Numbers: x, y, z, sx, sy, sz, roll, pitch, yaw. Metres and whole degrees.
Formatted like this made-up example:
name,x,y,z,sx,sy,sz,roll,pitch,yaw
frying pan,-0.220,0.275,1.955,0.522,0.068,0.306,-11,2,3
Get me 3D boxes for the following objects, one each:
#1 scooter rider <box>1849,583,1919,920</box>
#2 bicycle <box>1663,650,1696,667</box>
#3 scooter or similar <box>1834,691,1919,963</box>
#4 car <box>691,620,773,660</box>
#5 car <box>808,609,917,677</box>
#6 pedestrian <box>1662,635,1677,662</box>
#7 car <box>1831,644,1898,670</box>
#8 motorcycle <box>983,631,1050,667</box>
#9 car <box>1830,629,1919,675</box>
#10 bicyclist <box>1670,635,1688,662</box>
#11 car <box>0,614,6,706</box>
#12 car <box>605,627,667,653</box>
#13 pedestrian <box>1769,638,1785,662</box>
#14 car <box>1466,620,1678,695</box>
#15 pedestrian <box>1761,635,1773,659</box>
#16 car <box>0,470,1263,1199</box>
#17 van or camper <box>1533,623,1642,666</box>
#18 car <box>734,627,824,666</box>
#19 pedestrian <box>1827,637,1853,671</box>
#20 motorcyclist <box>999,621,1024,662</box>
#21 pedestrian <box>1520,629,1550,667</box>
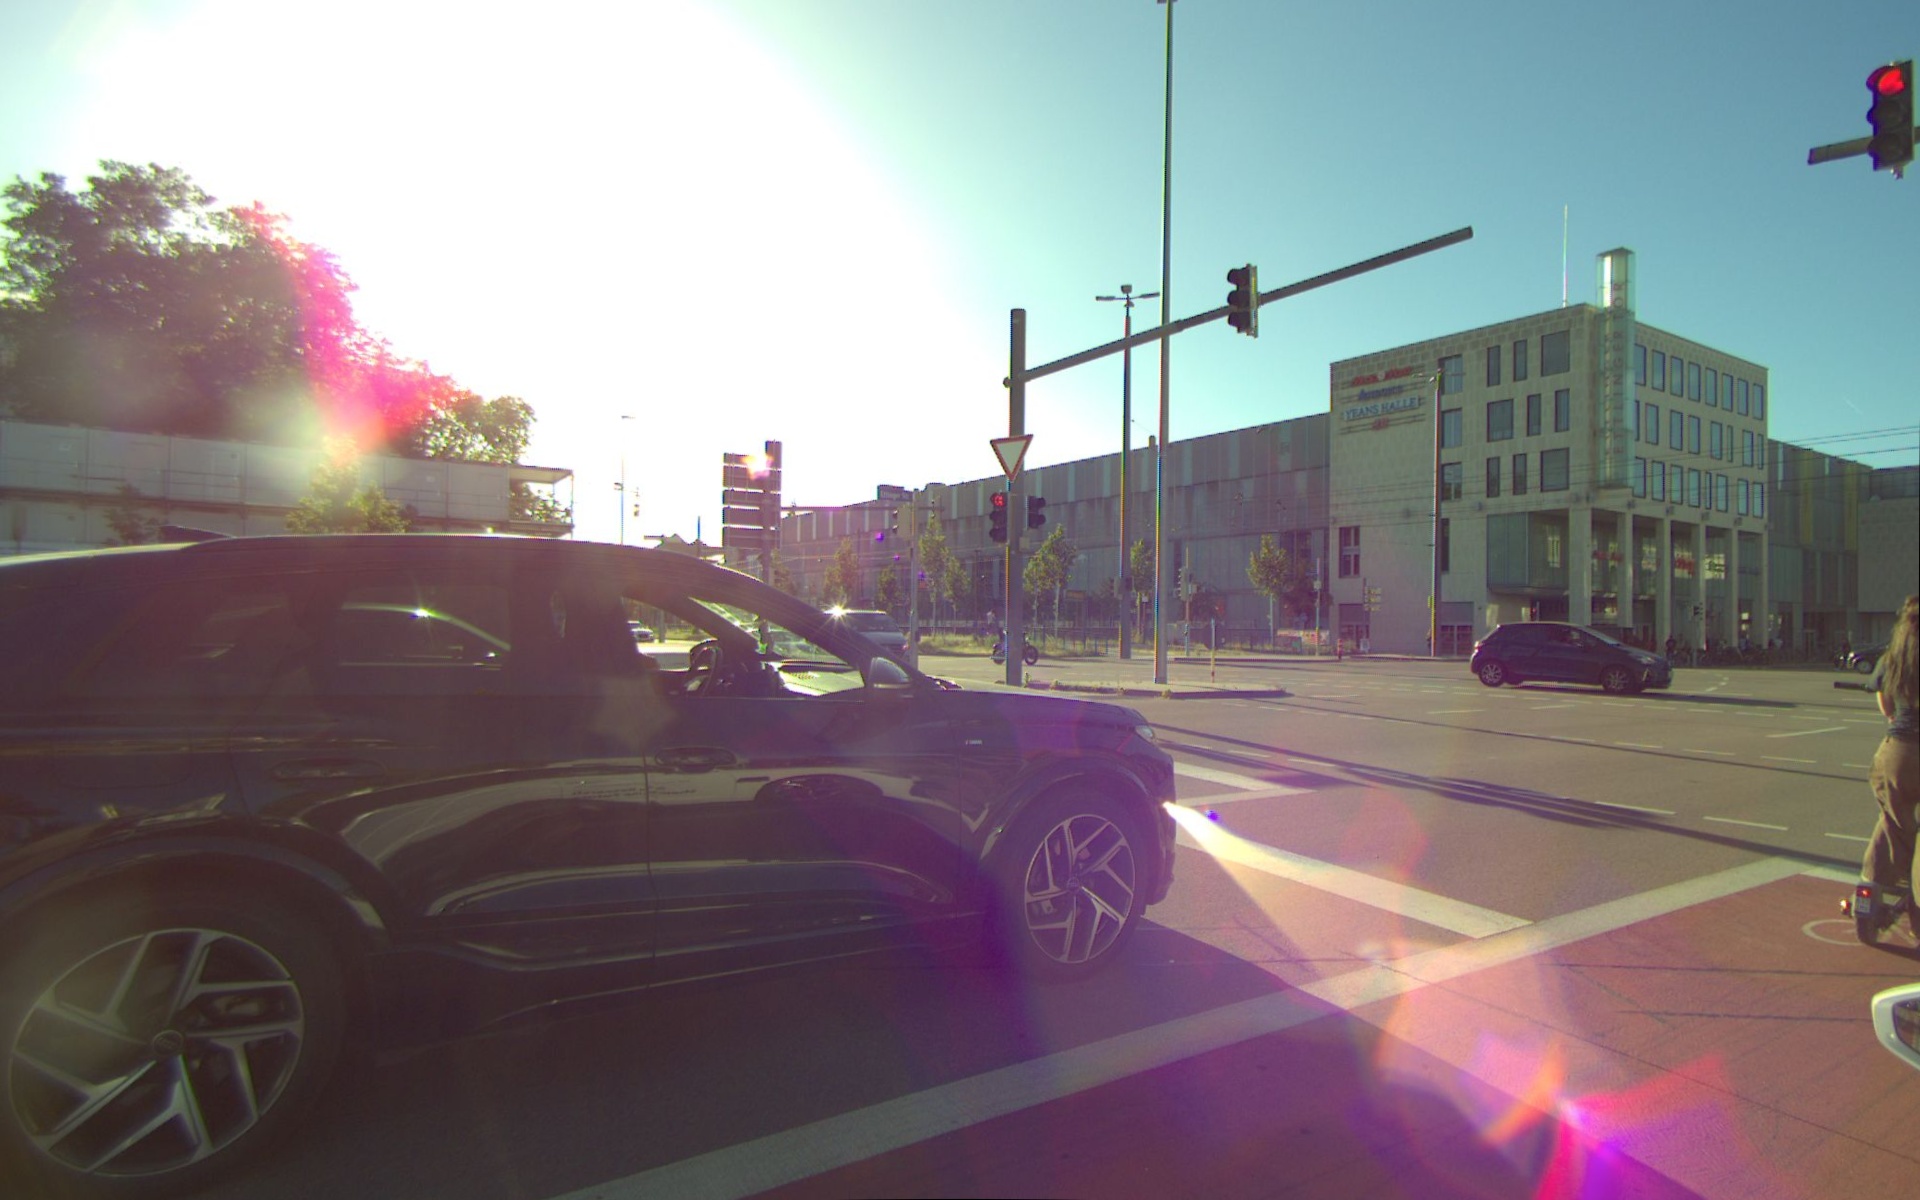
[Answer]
name,x,y,z,sx,sy,sz,roll,pitch,yaw
scooter rider,4.615,0.700,4.745,0.445,1.550,0.548,1,-1,-38
bicycle,39.943,3.242,55.778,2.191,0.915,0.633,1,-1,-29
scooter or similar,4.355,1.009,4.692,0.832,1.122,0.303,2,-1,-42
car,-11.449,1.949,50.168,1.873,1.888,4.771,2,-2,-43
car,-3.155,1.293,31.588,1.863,1.947,4.899,1,-1,-26
pedestrian,44.619,3.021,63.163,0.622,1.667,0.589,1,-1,-30
car,49.843,3.111,55.350,3.975,1.375,1.668,1,-1,-31
motorcycle,2.009,1.733,36.146,2.567,1.224,0.725,-1,-1,44
car,36.345,1.995,38.698,1.741,1.706,3.967,1,-1,-30
bicyclist,40.003,2.700,55.864,0.581,1.467,0.623,1,-1,-28
car,-17.092,0.934,14.871,3.934,1.500,1.868,1,-1,-30
car,-21.063,2.566,65.278,1.985,1.585,5.038,2,-2,-41
pedestrian,58.958,3.609,72.499,0.681,1.752,0.472,2,0,9
car,13.726,1.226,22.666,1.660,1.530,3.824,2,-2,-44
pedestrian,60.488,3.513,75.320,0.510,1.752,0.472,2,0,9
car,-1.203,0.607,4.083,4.612,1.729,2.154,1,0,-32
van or camper,32.063,2.238,51.434,1.974,2.040,4.388,1,-1,-34
car,-6.958,1.734,38.357,1.715,1.395,3.897,2,-2,-40
pedestrian,44.669,2.737,51.001,0.616,1.660,0.776,1,-1,-18
motorcyclist,1.864,1.499,36.281,0.650,1.442,0.644,-1,0,44
pedestrian,26.168,2.191,45.707,0.994,1.697,0.818,1,-1,-33
